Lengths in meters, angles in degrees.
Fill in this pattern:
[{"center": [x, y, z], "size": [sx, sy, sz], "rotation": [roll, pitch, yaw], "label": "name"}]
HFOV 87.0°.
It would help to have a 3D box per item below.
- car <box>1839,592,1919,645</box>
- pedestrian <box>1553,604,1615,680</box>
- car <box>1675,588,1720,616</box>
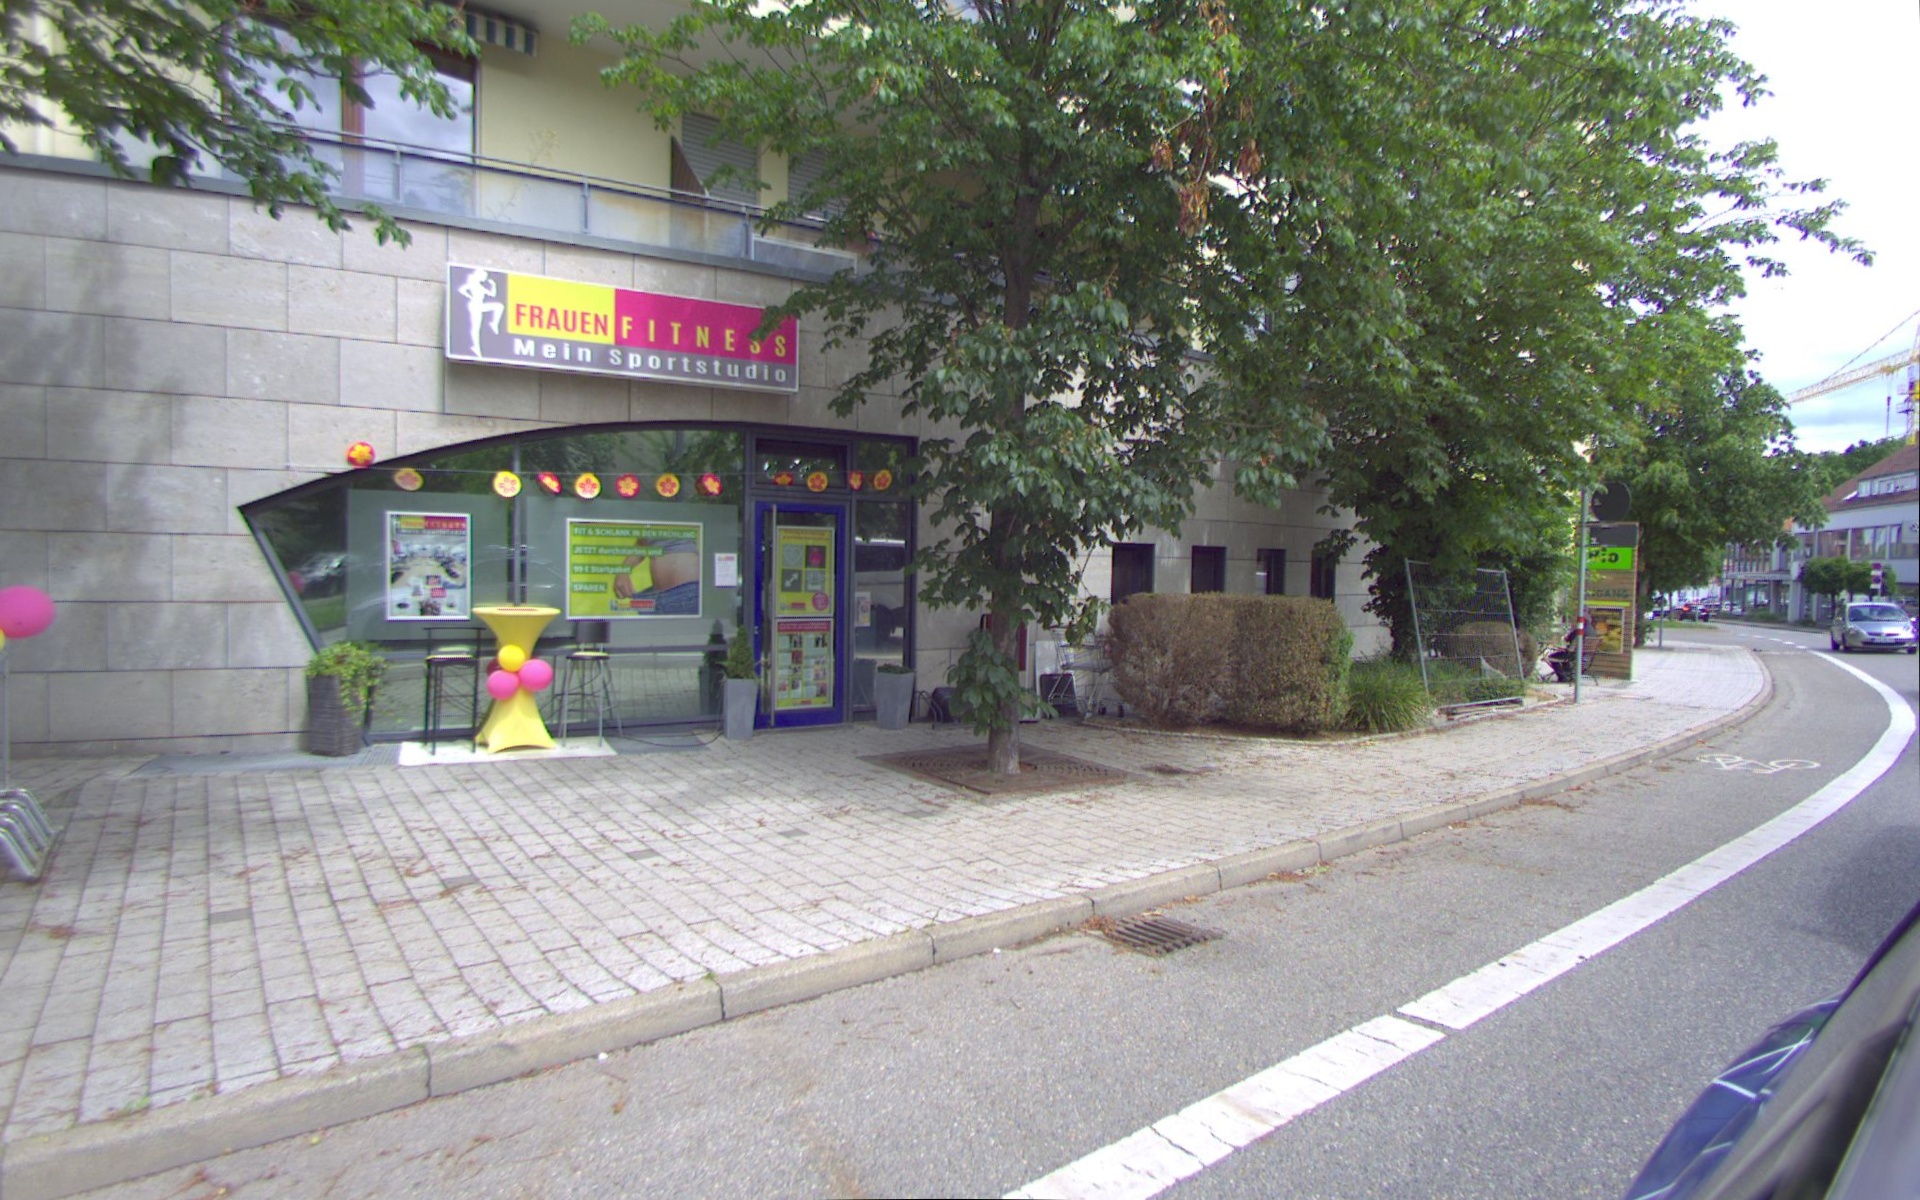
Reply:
[{"center": [28.216, 0.523, 30.911], "size": [1.684, 1.505, 3.949], "rotation": [-1, 0, 36], "label": "car"}, {"center": [11.362, 0.738, 18.427], "size": [0.741, 1.317, 0.730], "rotation": [0, 2, -41], "label": "pedestrian"}, {"center": [53.576, 0.094, 73.579], "size": [1.722, 1.874, 3.970], "rotation": [2, 2, 23], "label": "car"}]
